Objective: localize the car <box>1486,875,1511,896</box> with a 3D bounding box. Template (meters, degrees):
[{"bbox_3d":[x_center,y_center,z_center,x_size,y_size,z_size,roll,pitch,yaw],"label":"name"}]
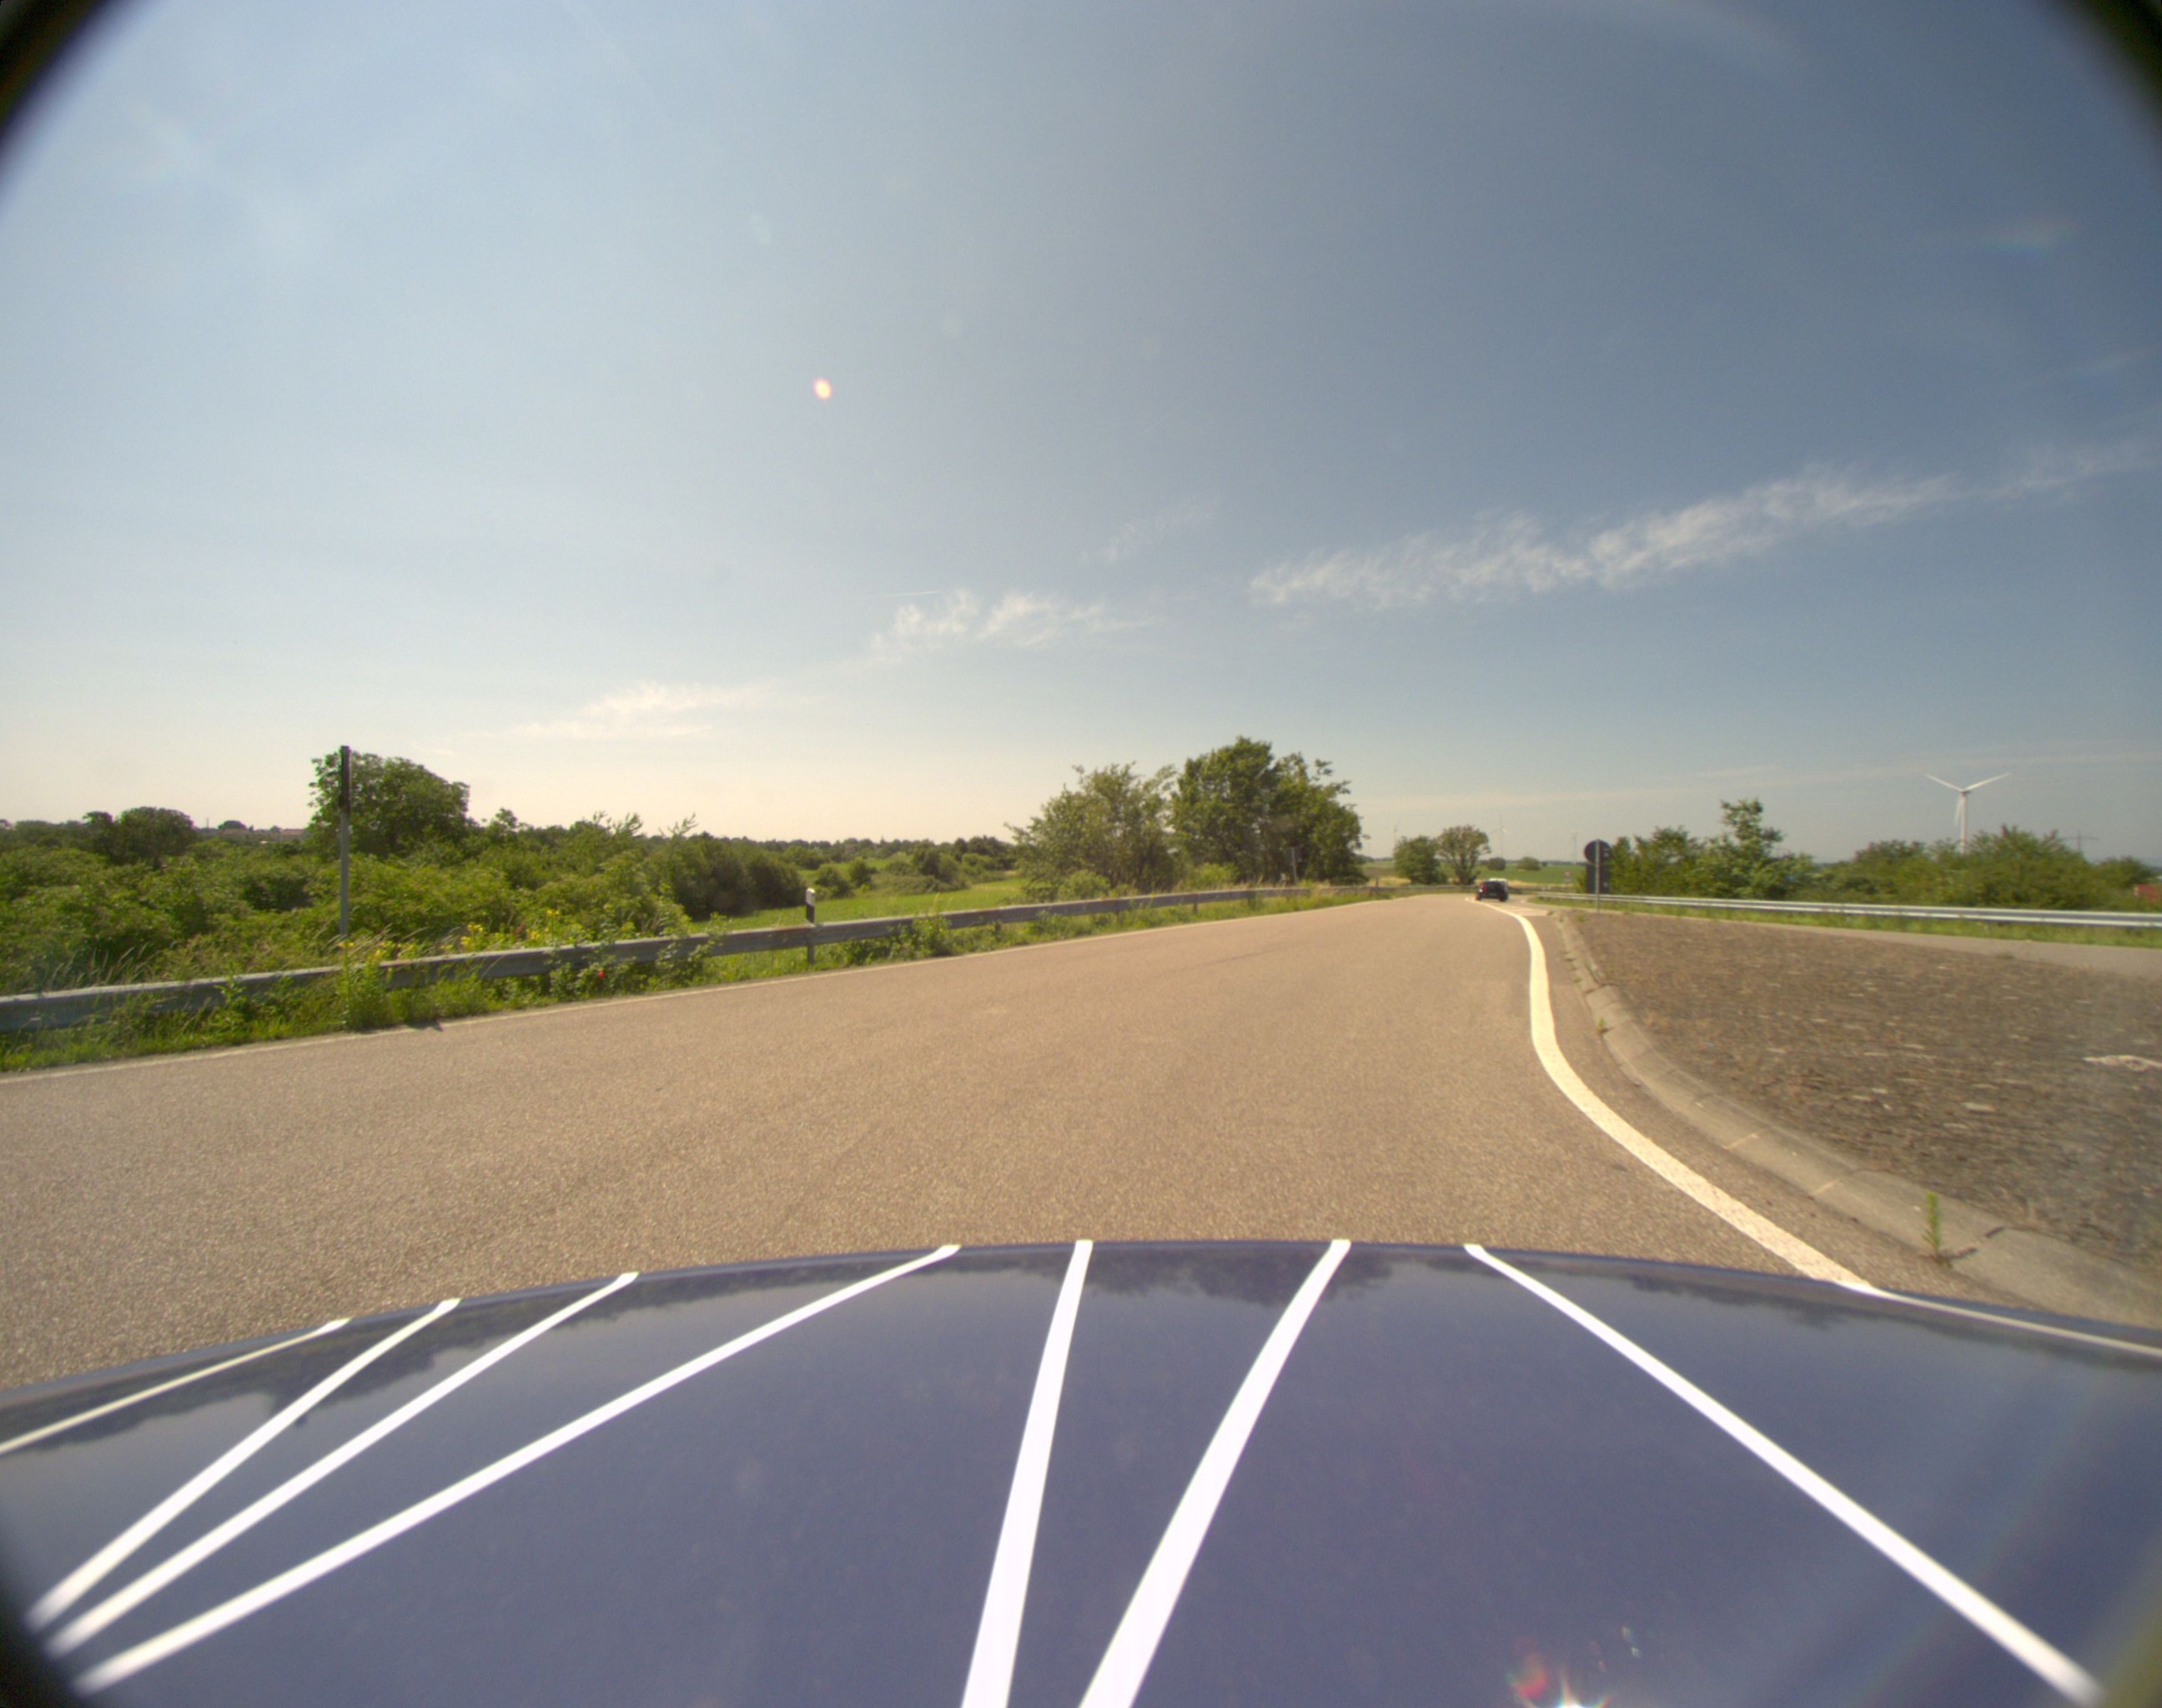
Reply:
[{"bbox_3d":[36.064,2.714,65.691,1.737,1.750,4.092,1,-2,27],"label":"car"}]

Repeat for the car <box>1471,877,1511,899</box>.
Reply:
[{"bbox_3d":[28.765,2.403,53.430,1.710,1.387,3.894,2,-2,18],"label":"car"}]
